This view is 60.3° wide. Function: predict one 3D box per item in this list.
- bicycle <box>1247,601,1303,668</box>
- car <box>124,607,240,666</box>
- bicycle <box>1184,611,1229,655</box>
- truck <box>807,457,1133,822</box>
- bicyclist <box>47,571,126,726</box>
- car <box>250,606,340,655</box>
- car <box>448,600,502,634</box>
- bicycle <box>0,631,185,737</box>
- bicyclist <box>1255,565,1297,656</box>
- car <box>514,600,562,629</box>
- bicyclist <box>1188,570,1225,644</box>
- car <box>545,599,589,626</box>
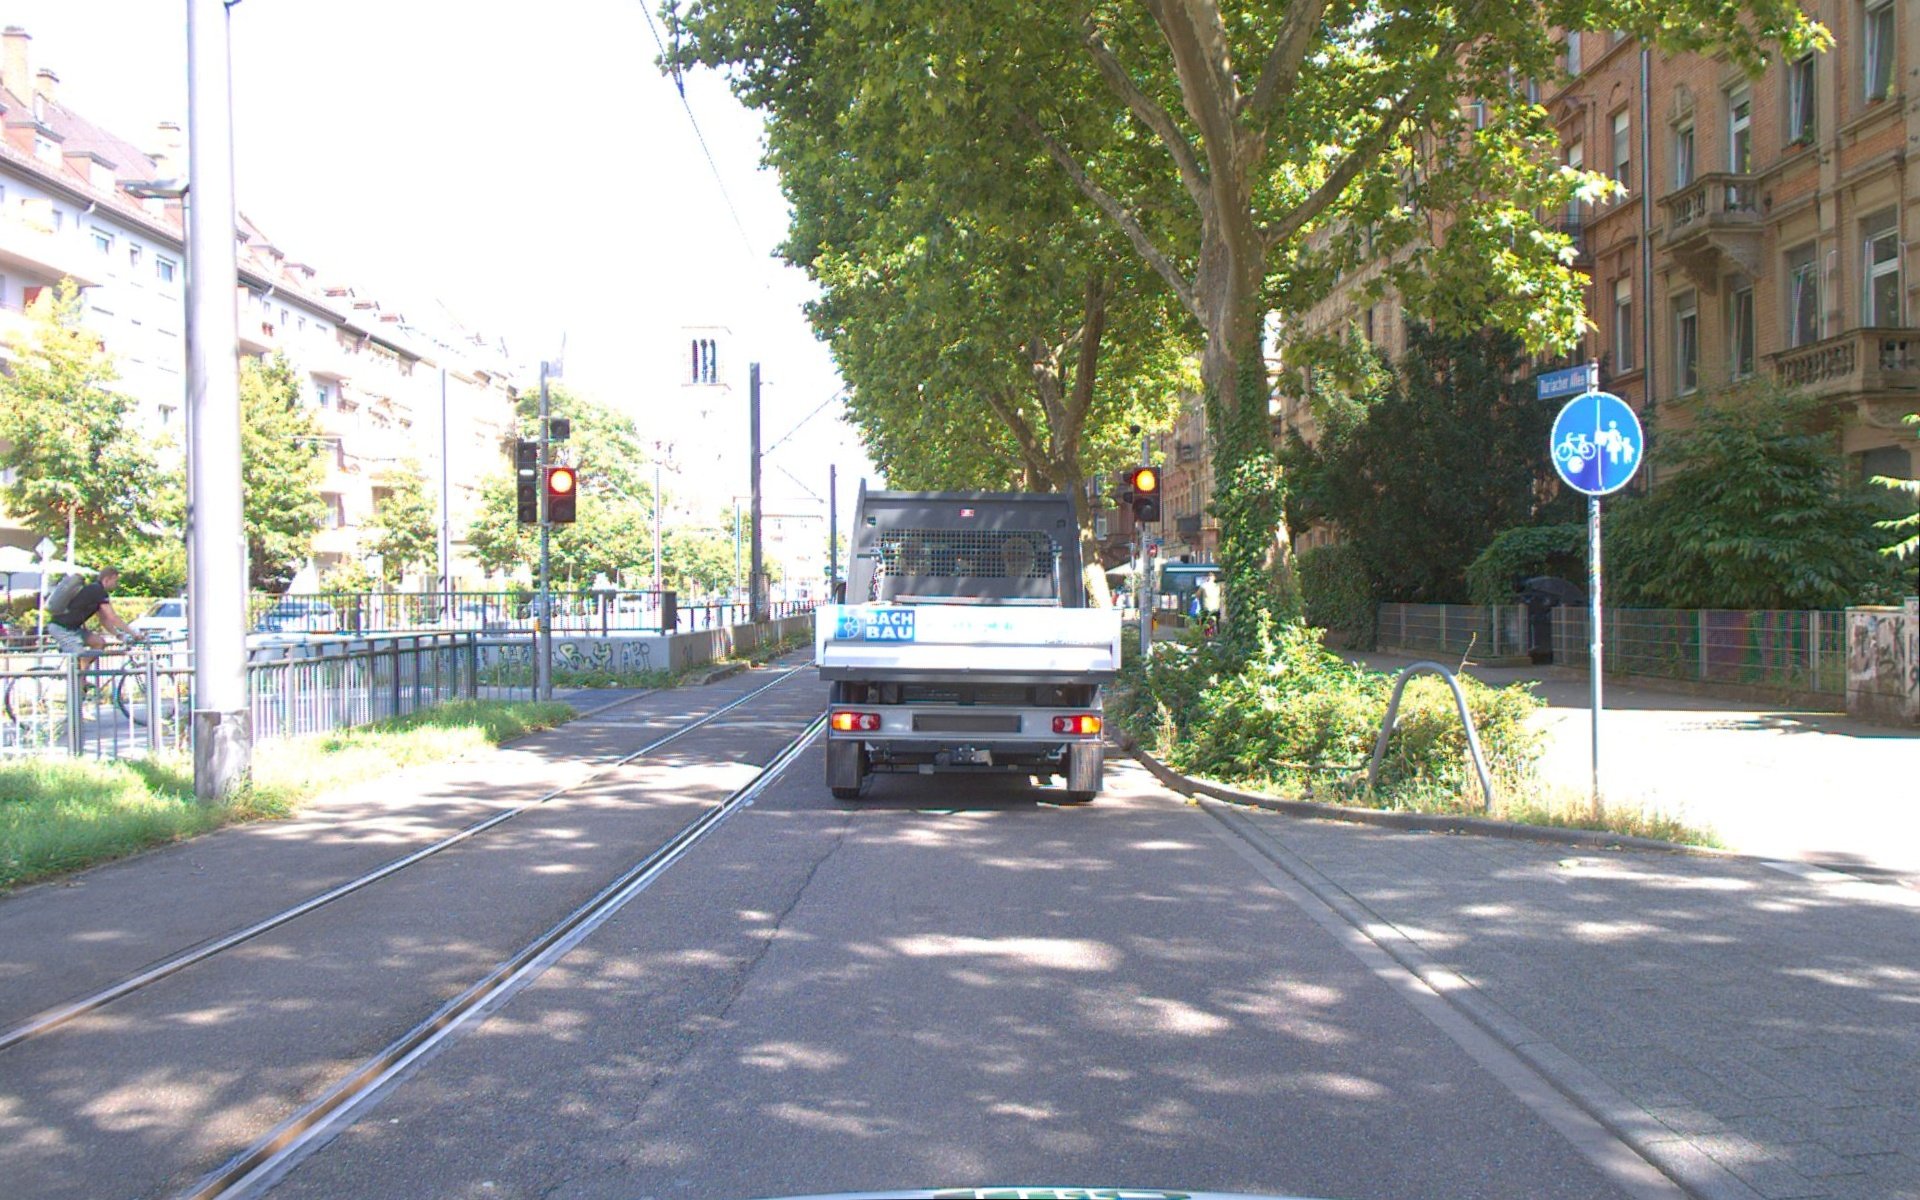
[{"bbox_3d":[5.611,0.594,29.547,0.553,1.131,2.310,-1,0,0],"label":"bicycle"},{"bbox_3d":[-22.084,1.004,47.090,1.737,1.524,3.994,-2,0,-7],"label":"car"},{"bbox_3d":[5.353,0.701,36.025,0.661,0.897,2.163,-1,0,0],"label":"bicycle"},{"bbox_3d":[0.069,0.253,13.086,2.094,2.359,4.401,1,0,0],"label":"truck"},{"bbox_3d":[-9.536,0.510,18.053,0.687,1.651,0.617,0,0,-36],"label":"bicyclist"},{"bbox_3d":[-22.260,0.993,55.520,1.737,1.524,3.994,-2,0,-7],"label":"car"},{"bbox_3d":[-22.586,0.773,77.198,1.737,1.524,3.994,-1,0,-7],"label":"car"},{"bbox_3d":[-9.543,0.893,18.047,1.905,1.067,0.526,-1,0,-37],"label":"bicycle"},{"bbox_3d":[5.617,0.186,29.413,0.625,1.601,0.579,-1,0,0],"label":"bicyclist"},{"bbox_3d":[-23.084,0.755,90.659,1.735,1.524,3.998,-1,0,-2],"label":"car"},{"bbox_3d":[5.340,0.153,35.901,0.666,1.591,0.777,-1,0,0],"label":"bicyclist"},{"bbox_3d":[-23.376,0.743,98.491,1.735,1.524,3.998,-1,0,-2],"label":"car"}]
